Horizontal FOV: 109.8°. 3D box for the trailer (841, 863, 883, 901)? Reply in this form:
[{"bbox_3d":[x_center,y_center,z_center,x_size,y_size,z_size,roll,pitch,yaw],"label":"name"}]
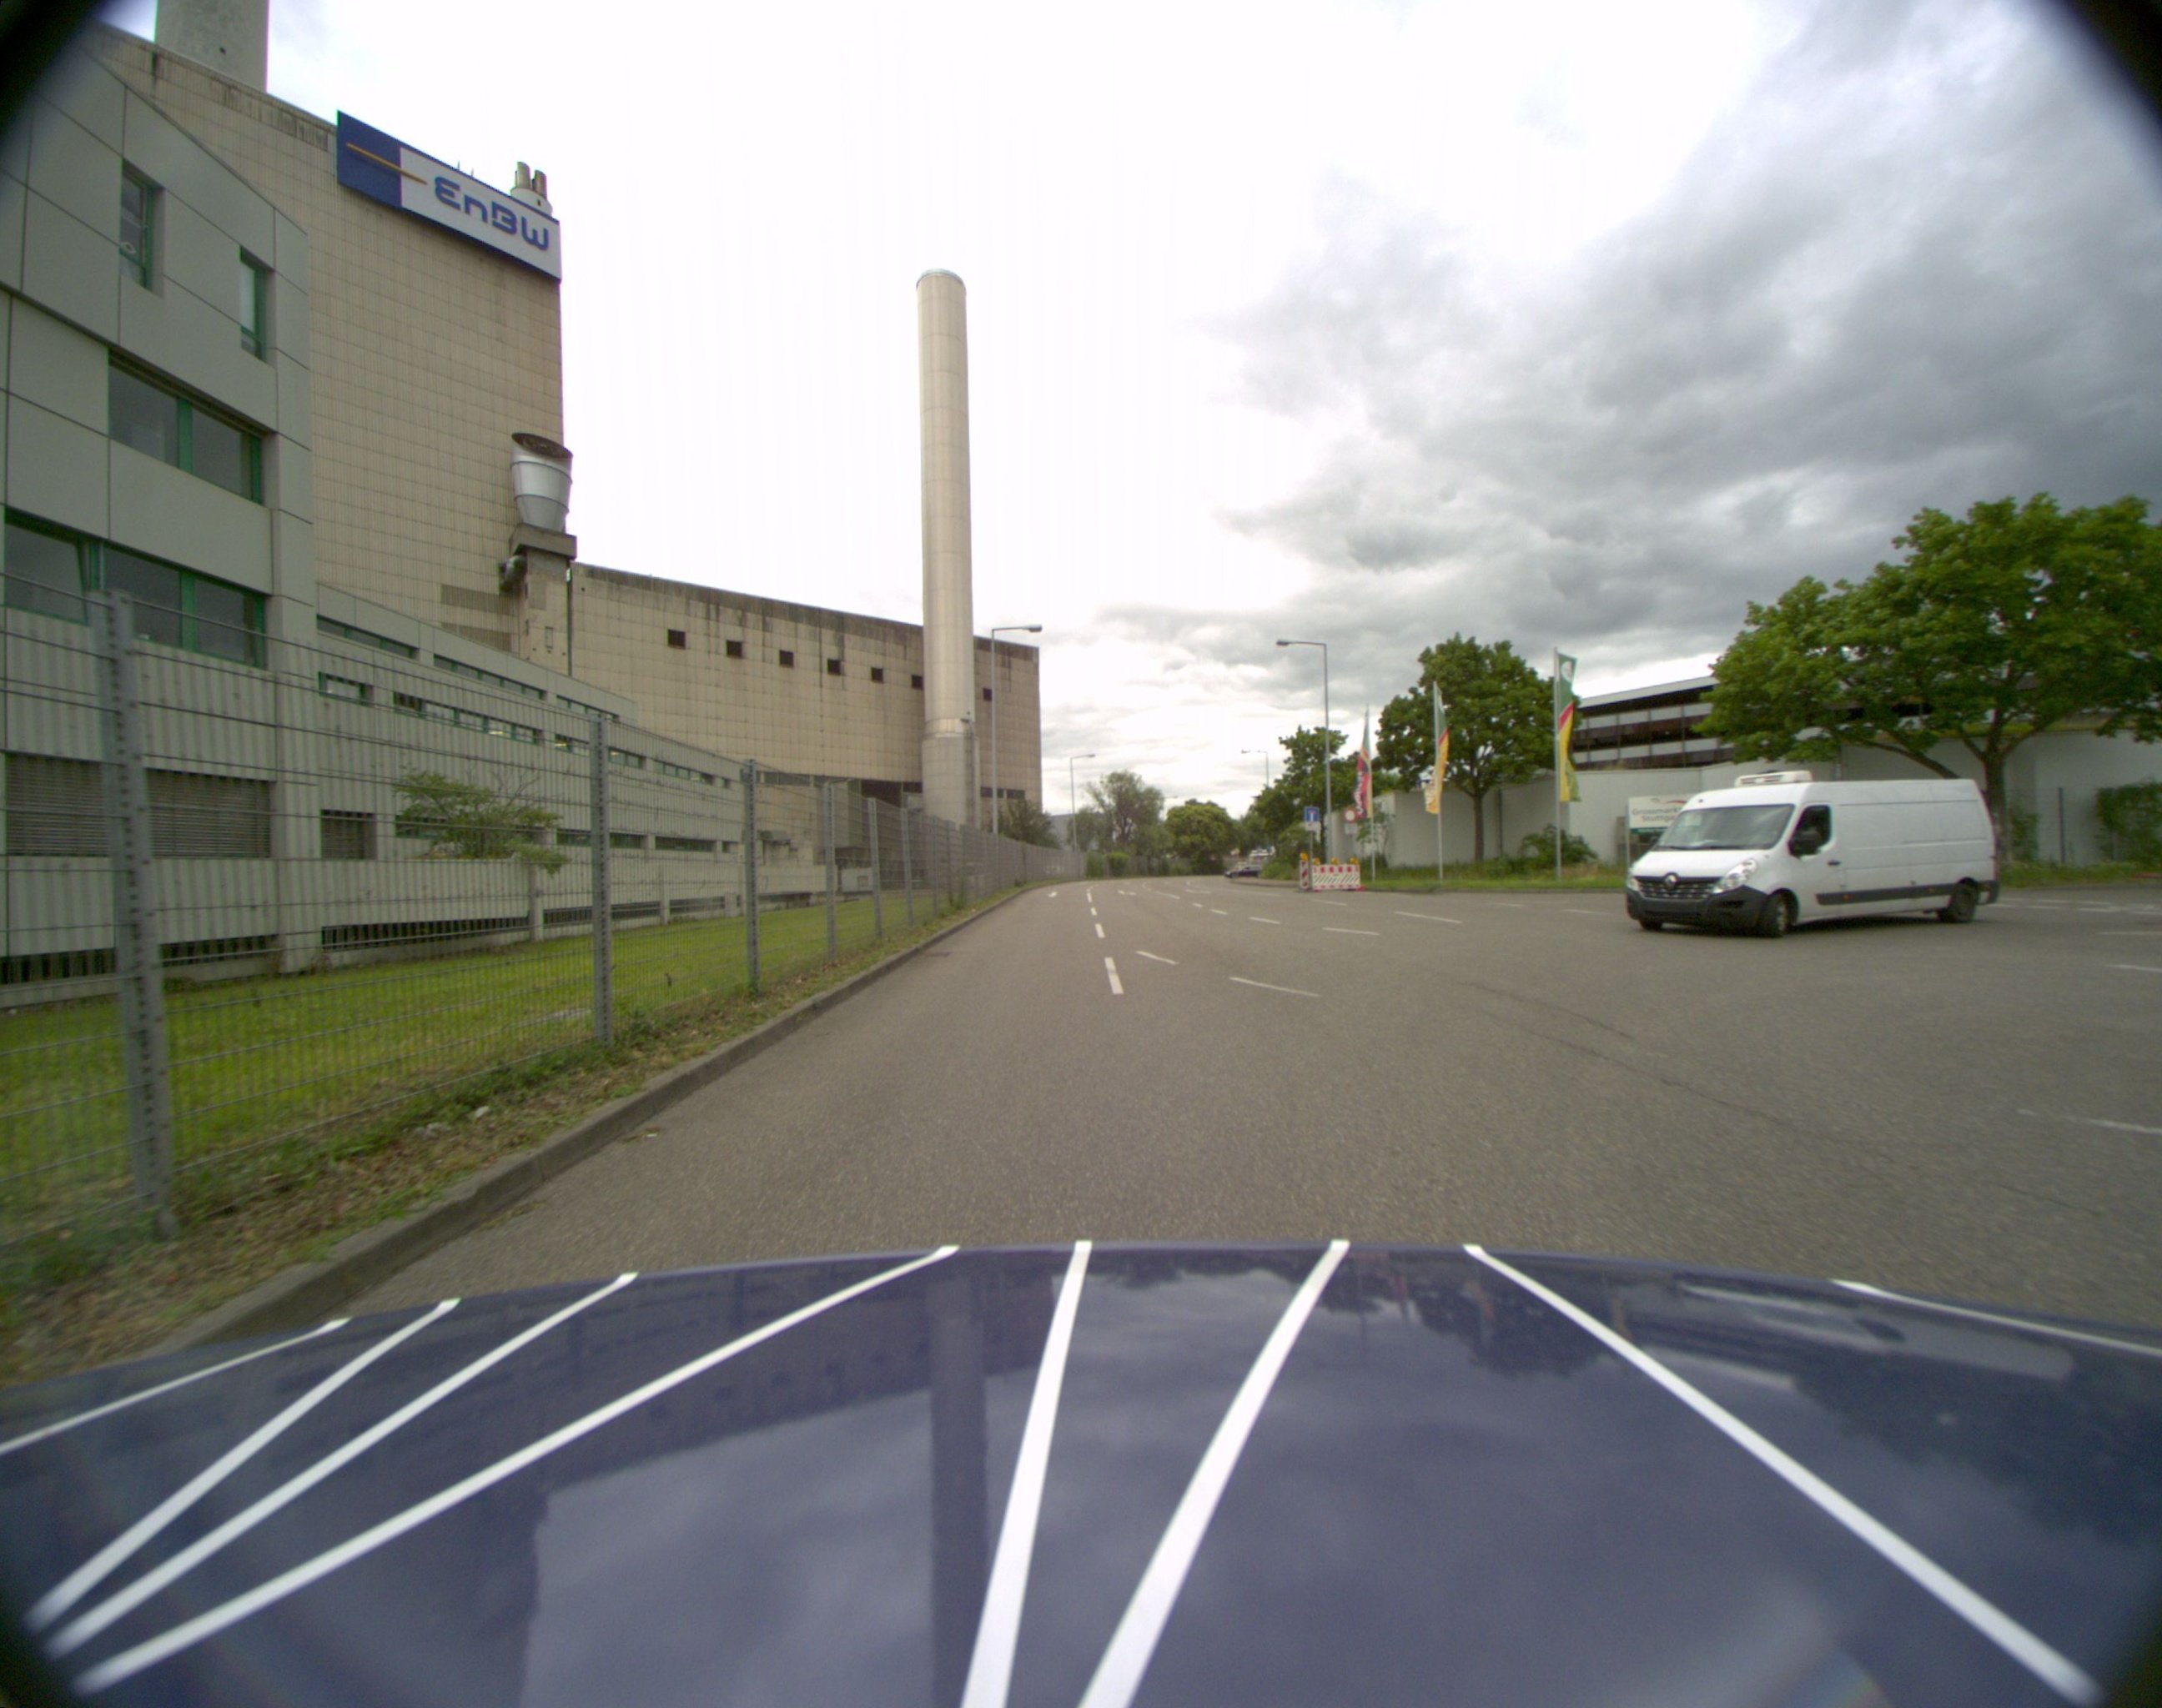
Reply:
[{"bbox_3d":[-16.023,2.019,55.898,2.665,2.528,6.427,-2,-1,-14],"label":"trailer"}]

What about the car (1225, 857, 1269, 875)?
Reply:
[{"bbox_3d":[18.214,1.348,83.565,4.615,1.799,2.002,-3,-1,12],"label":"car"}]

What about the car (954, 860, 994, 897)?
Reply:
[{"bbox_3d":[-9.071,2.113,63.987,2.429,2.745,5.449,-2,-3,-17],"label":"car"}]

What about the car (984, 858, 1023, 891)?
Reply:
[{"bbox_3d":[-6.758,1.799,65.774,2.240,2.531,5.186,-2,-3,-18],"label":"car"}]

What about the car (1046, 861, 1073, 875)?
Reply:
[{"bbox_3d":[-3.756,2.427,135.091,1.995,2.353,5.850,-3,-1,29],"label":"car"}]

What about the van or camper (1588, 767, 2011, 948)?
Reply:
[{"bbox_3d":[11.998,-0.004,12.762,6.111,2.541,2.270,-2,-1,-16],"label":"van or camper"}]
